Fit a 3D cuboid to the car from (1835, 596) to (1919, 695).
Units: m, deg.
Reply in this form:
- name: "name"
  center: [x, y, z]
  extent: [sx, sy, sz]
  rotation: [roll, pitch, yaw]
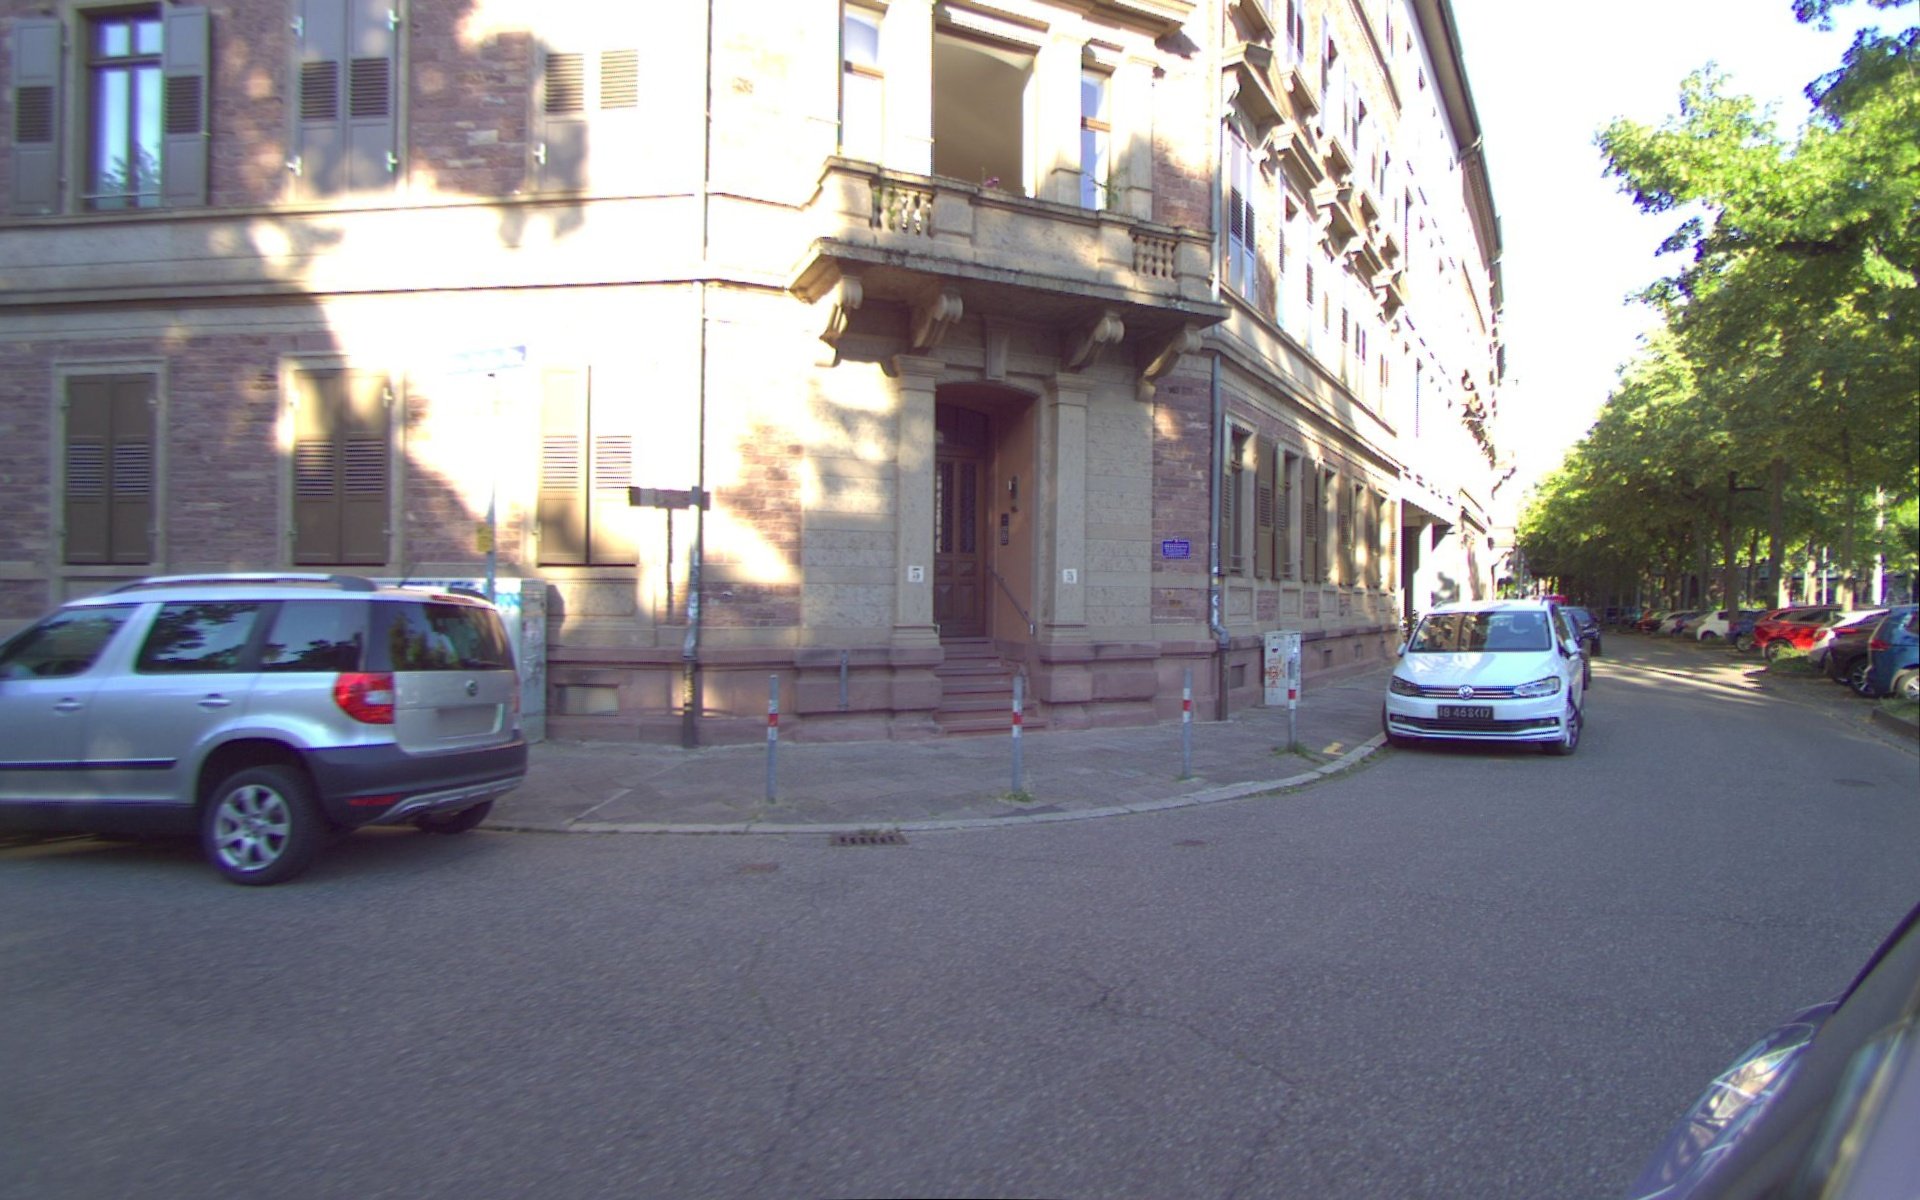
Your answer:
- name: "car"
  center: [17.500, 0.817, 16.452]
  extent: [1.890, 1.655, 4.560]
  rotation: [1, 1, -27]

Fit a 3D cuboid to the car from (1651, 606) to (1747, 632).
- name: "car"
  center: [41.588, 1.043, 57.069]
  extent: [1.712, 1.295, 4.007]
  rotation: [1, 1, -27]

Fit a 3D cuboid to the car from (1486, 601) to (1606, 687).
- name: "car"
  center: [11.738, 0.811, 20.163]
  extent: [1.730, 1.509, 4.113]
  rotation: [-2, -1, 34]

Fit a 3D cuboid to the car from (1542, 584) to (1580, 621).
- name: "car"
  center: [38.180, 0.150, 64.375]
  extent: [1.984, 2.200, 4.563]
  rotation: [2, 1, 30]

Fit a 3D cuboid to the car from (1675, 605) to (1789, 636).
- name: "car"
  center: [37.133, 0.962, 48.774]
  extent: [1.712, 1.295, 4.007]
  rotation: [1, 1, -27]

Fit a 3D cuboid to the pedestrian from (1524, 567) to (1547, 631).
- name: "pedestrian"
  center: [27.237, -0.041, 47.910]
  extent: [0.913, 2.985, 0.692]
  rotation: [1, 0, 30]

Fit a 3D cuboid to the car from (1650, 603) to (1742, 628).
- name: "car"
  center: [42.856, 0.866, 59.012]
  extent: [1.712, 1.295, 4.007]
  rotation: [1, 1, -27]

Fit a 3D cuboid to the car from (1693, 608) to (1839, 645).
- name: "car"
  center: [32.716, 1.040, 41.203]
  extent: [1.772, 1.295, 4.289]
  rotation: [1, 1, -26]

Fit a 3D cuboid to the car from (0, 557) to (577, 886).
- name: "car"
  center: [-4.871, 0.651, 6.440]
  extent: [4.116, 1.679, 1.917]
  rotation: [0, -3, 8]

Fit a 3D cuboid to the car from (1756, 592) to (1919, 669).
- name: "car"
  center: [23.038, 0.735, 25.356]
  extent: [1.889, 1.743, 4.563]
  rotation: [1, 1, -17]

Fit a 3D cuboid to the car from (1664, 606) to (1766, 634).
- name: "car"
  center: [40.341, 1.045, 54.162]
  extent: [1.712, 1.295, 4.007]
  rotation: [1, 1, -27]

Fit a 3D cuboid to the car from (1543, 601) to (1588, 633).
- name: "car"
  center: [32.740, 0.881, 54.786]
  extent: [1.984, 1.587, 4.563]
  rotation: [2, 1, 30]

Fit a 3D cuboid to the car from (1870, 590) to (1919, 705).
- name: "car"
  center: [15.807, 0.705, 14.037]
  extent: [1.707, 1.709, 4.424]
  rotation: [1, -1, -29]

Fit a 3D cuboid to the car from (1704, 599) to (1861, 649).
- name: "car"
  center: [31.311, 0.880, 38.681]
  extent: [1.771, 1.716, 4.291]
  rotation: [1, 1, -23]

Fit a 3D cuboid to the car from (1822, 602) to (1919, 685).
- name: "car"
  center: [19.059, 0.853, 18.547]
  extent: [1.890, 1.506, 4.560]
  rotation: [1, 1, -27]

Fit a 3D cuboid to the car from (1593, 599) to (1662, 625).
- name: "car"
  center: [50.292, 0.875, 76.295]
  extent: [1.717, 1.789, 3.995]
  rotation: [1, 1, -40]

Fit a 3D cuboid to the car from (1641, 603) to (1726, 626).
- name: "car"
  center: [45.928, 0.885, 64.324]
  extent: [1.712, 1.295, 4.007]
  rotation: [1, 1, -27]

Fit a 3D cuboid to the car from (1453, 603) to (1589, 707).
- name: "car"
  center: [9.345, 0.829, 16.720]
  extent: [1.728, 1.509, 3.681]
  rotation: [-2, -1, 32]

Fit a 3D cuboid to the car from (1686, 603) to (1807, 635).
- name: "car"
  center: [35.883, 0.831, 46.270]
  extent: [1.712, 1.295, 4.007]
  rotation: [1, 1, -27]

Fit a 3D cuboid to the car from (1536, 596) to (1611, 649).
- name: "car"
  center: [20.466, 0.705, 33.706]
  extent: [1.986, 1.587, 4.539]
  rotation: [2, 1, 33]

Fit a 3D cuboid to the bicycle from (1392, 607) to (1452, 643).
- name: "bicycle"
  center: [15.089, 0.816, 33.044]
  extent: [2.054, 1.130, 0.683]
  rotation: [1, 0, -29]

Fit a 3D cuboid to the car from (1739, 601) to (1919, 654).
- name: "car"
  center: [28.465, 0.853, 33.177]
  extent: [1.771, 1.506, 4.291]
  rotation: [1, 1, -23]

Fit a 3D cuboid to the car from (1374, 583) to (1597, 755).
- name: "car"
  center: [6.477, 0.705, 12.209]
  extent: [1.861, 1.671, 4.443]
  rotation: [-2, -1, 34]
